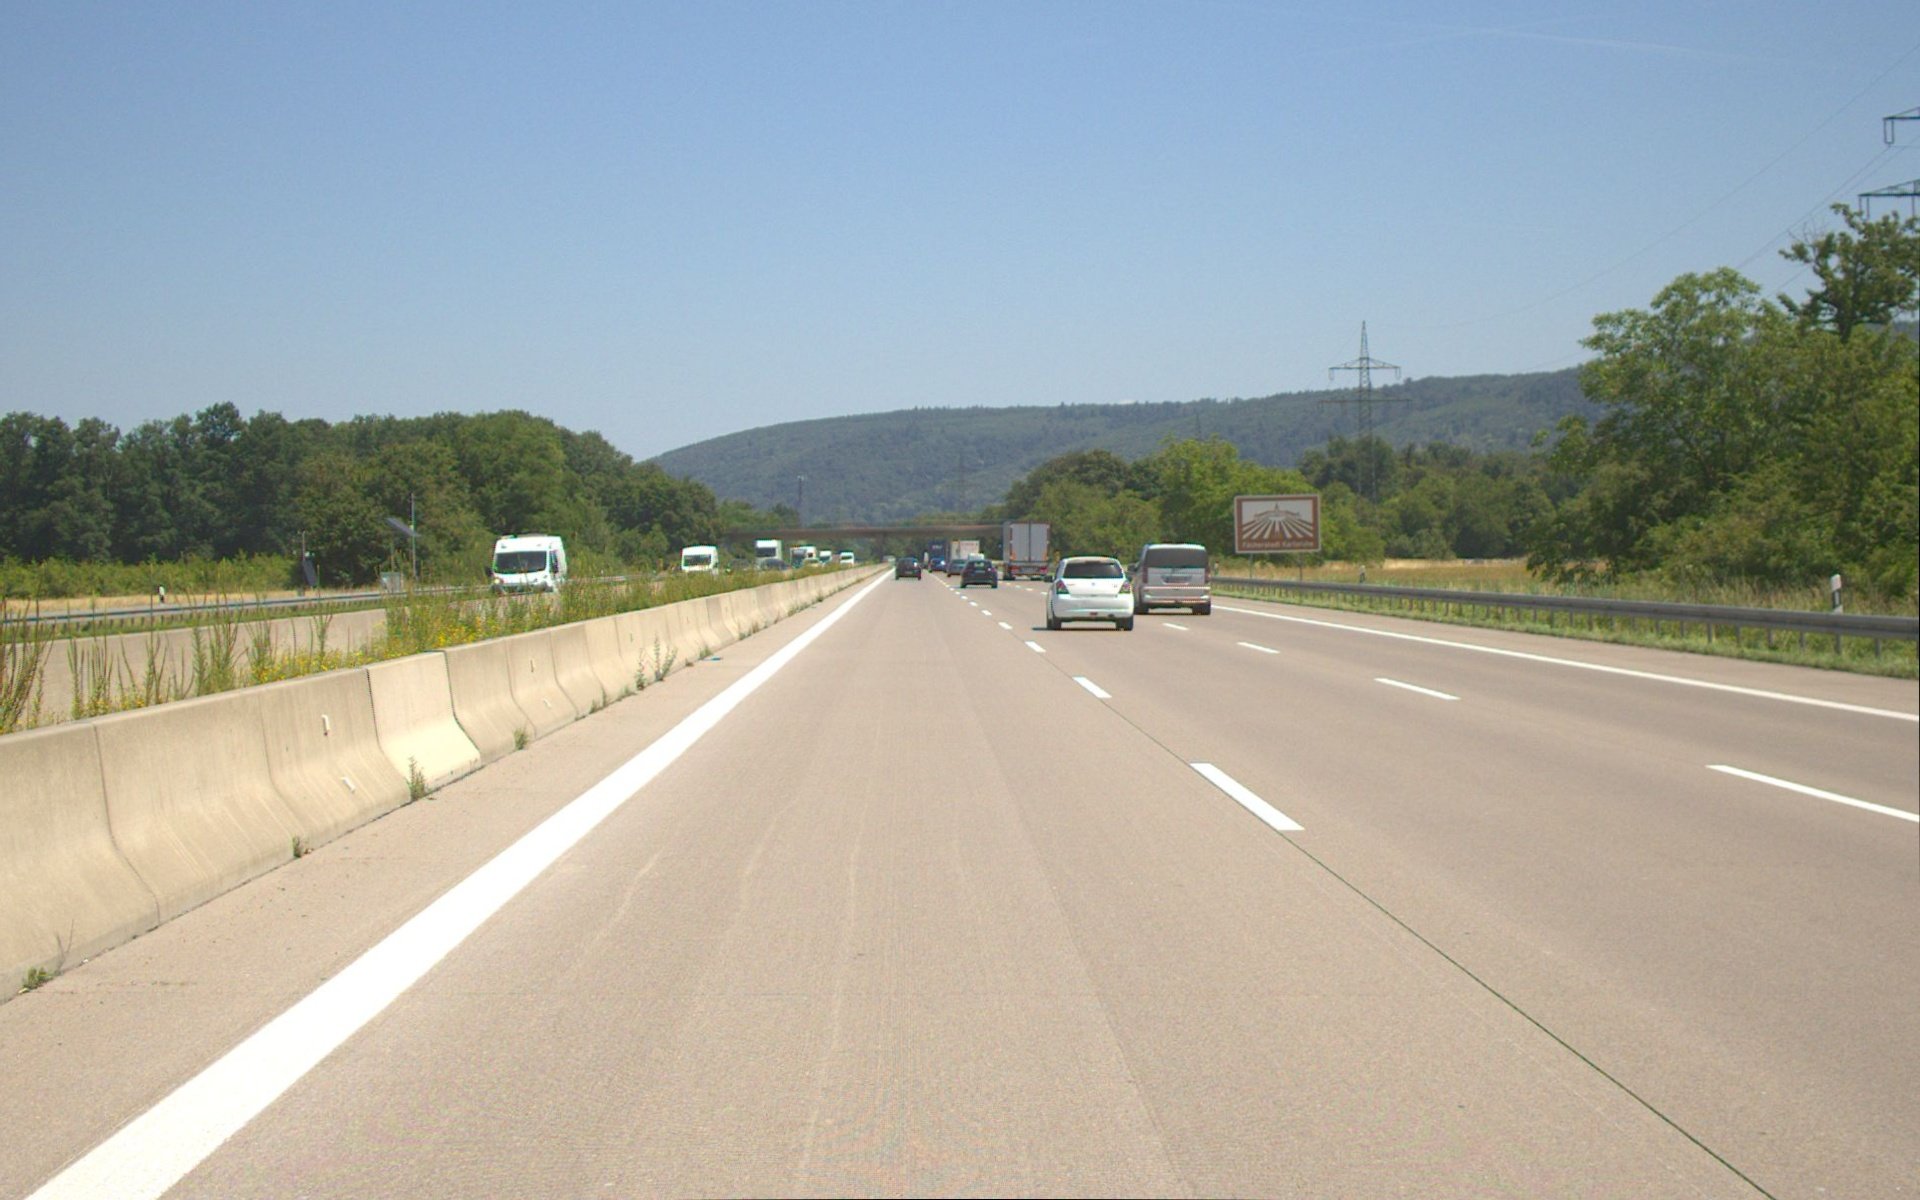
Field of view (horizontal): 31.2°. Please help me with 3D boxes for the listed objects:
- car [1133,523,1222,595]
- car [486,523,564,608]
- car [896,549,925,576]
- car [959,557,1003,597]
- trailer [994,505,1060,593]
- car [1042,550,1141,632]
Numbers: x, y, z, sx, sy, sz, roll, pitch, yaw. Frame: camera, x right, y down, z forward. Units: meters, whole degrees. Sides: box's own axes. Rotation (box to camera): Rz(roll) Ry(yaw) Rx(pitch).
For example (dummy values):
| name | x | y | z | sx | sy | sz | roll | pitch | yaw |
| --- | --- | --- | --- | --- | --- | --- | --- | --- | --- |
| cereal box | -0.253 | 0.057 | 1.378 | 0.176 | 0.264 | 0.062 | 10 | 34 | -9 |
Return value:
| name | x | y | z | sx | sy | sz | roll | pitch | yaw |
| --- | --- | --- | --- | --- | --- | --- | --- | --- | --- |
| car | 5.801 | -1.108 | 92.122 | 1.993 | 1.842 | 4.000 | 1 | 1 | -1 |
| car | -14.744 | -1.186 | 116.907 | 2.263 | 2.779 | 7.072 | 1 | 1 | -4 |
| car | -3.363 | -2.566 | 234.131 | 1.928 | 1.787 | 4.000 | 1 | 1 | -1 |
| car | 1.046 | -1.165 | 172.389 | 1.993 | 1.842 | 4.000 | 2 | 1 | -2 |
| trailer | 4.480 | -3.476 | 233.875 | 3.720 | 5.791 | 12.163 | 1 | 1 | -2 |
| car | 2.721 | -0.208 | 71.978 | 1.819 | 1.656 | 4.000 | 0 | 1 | -1 |
